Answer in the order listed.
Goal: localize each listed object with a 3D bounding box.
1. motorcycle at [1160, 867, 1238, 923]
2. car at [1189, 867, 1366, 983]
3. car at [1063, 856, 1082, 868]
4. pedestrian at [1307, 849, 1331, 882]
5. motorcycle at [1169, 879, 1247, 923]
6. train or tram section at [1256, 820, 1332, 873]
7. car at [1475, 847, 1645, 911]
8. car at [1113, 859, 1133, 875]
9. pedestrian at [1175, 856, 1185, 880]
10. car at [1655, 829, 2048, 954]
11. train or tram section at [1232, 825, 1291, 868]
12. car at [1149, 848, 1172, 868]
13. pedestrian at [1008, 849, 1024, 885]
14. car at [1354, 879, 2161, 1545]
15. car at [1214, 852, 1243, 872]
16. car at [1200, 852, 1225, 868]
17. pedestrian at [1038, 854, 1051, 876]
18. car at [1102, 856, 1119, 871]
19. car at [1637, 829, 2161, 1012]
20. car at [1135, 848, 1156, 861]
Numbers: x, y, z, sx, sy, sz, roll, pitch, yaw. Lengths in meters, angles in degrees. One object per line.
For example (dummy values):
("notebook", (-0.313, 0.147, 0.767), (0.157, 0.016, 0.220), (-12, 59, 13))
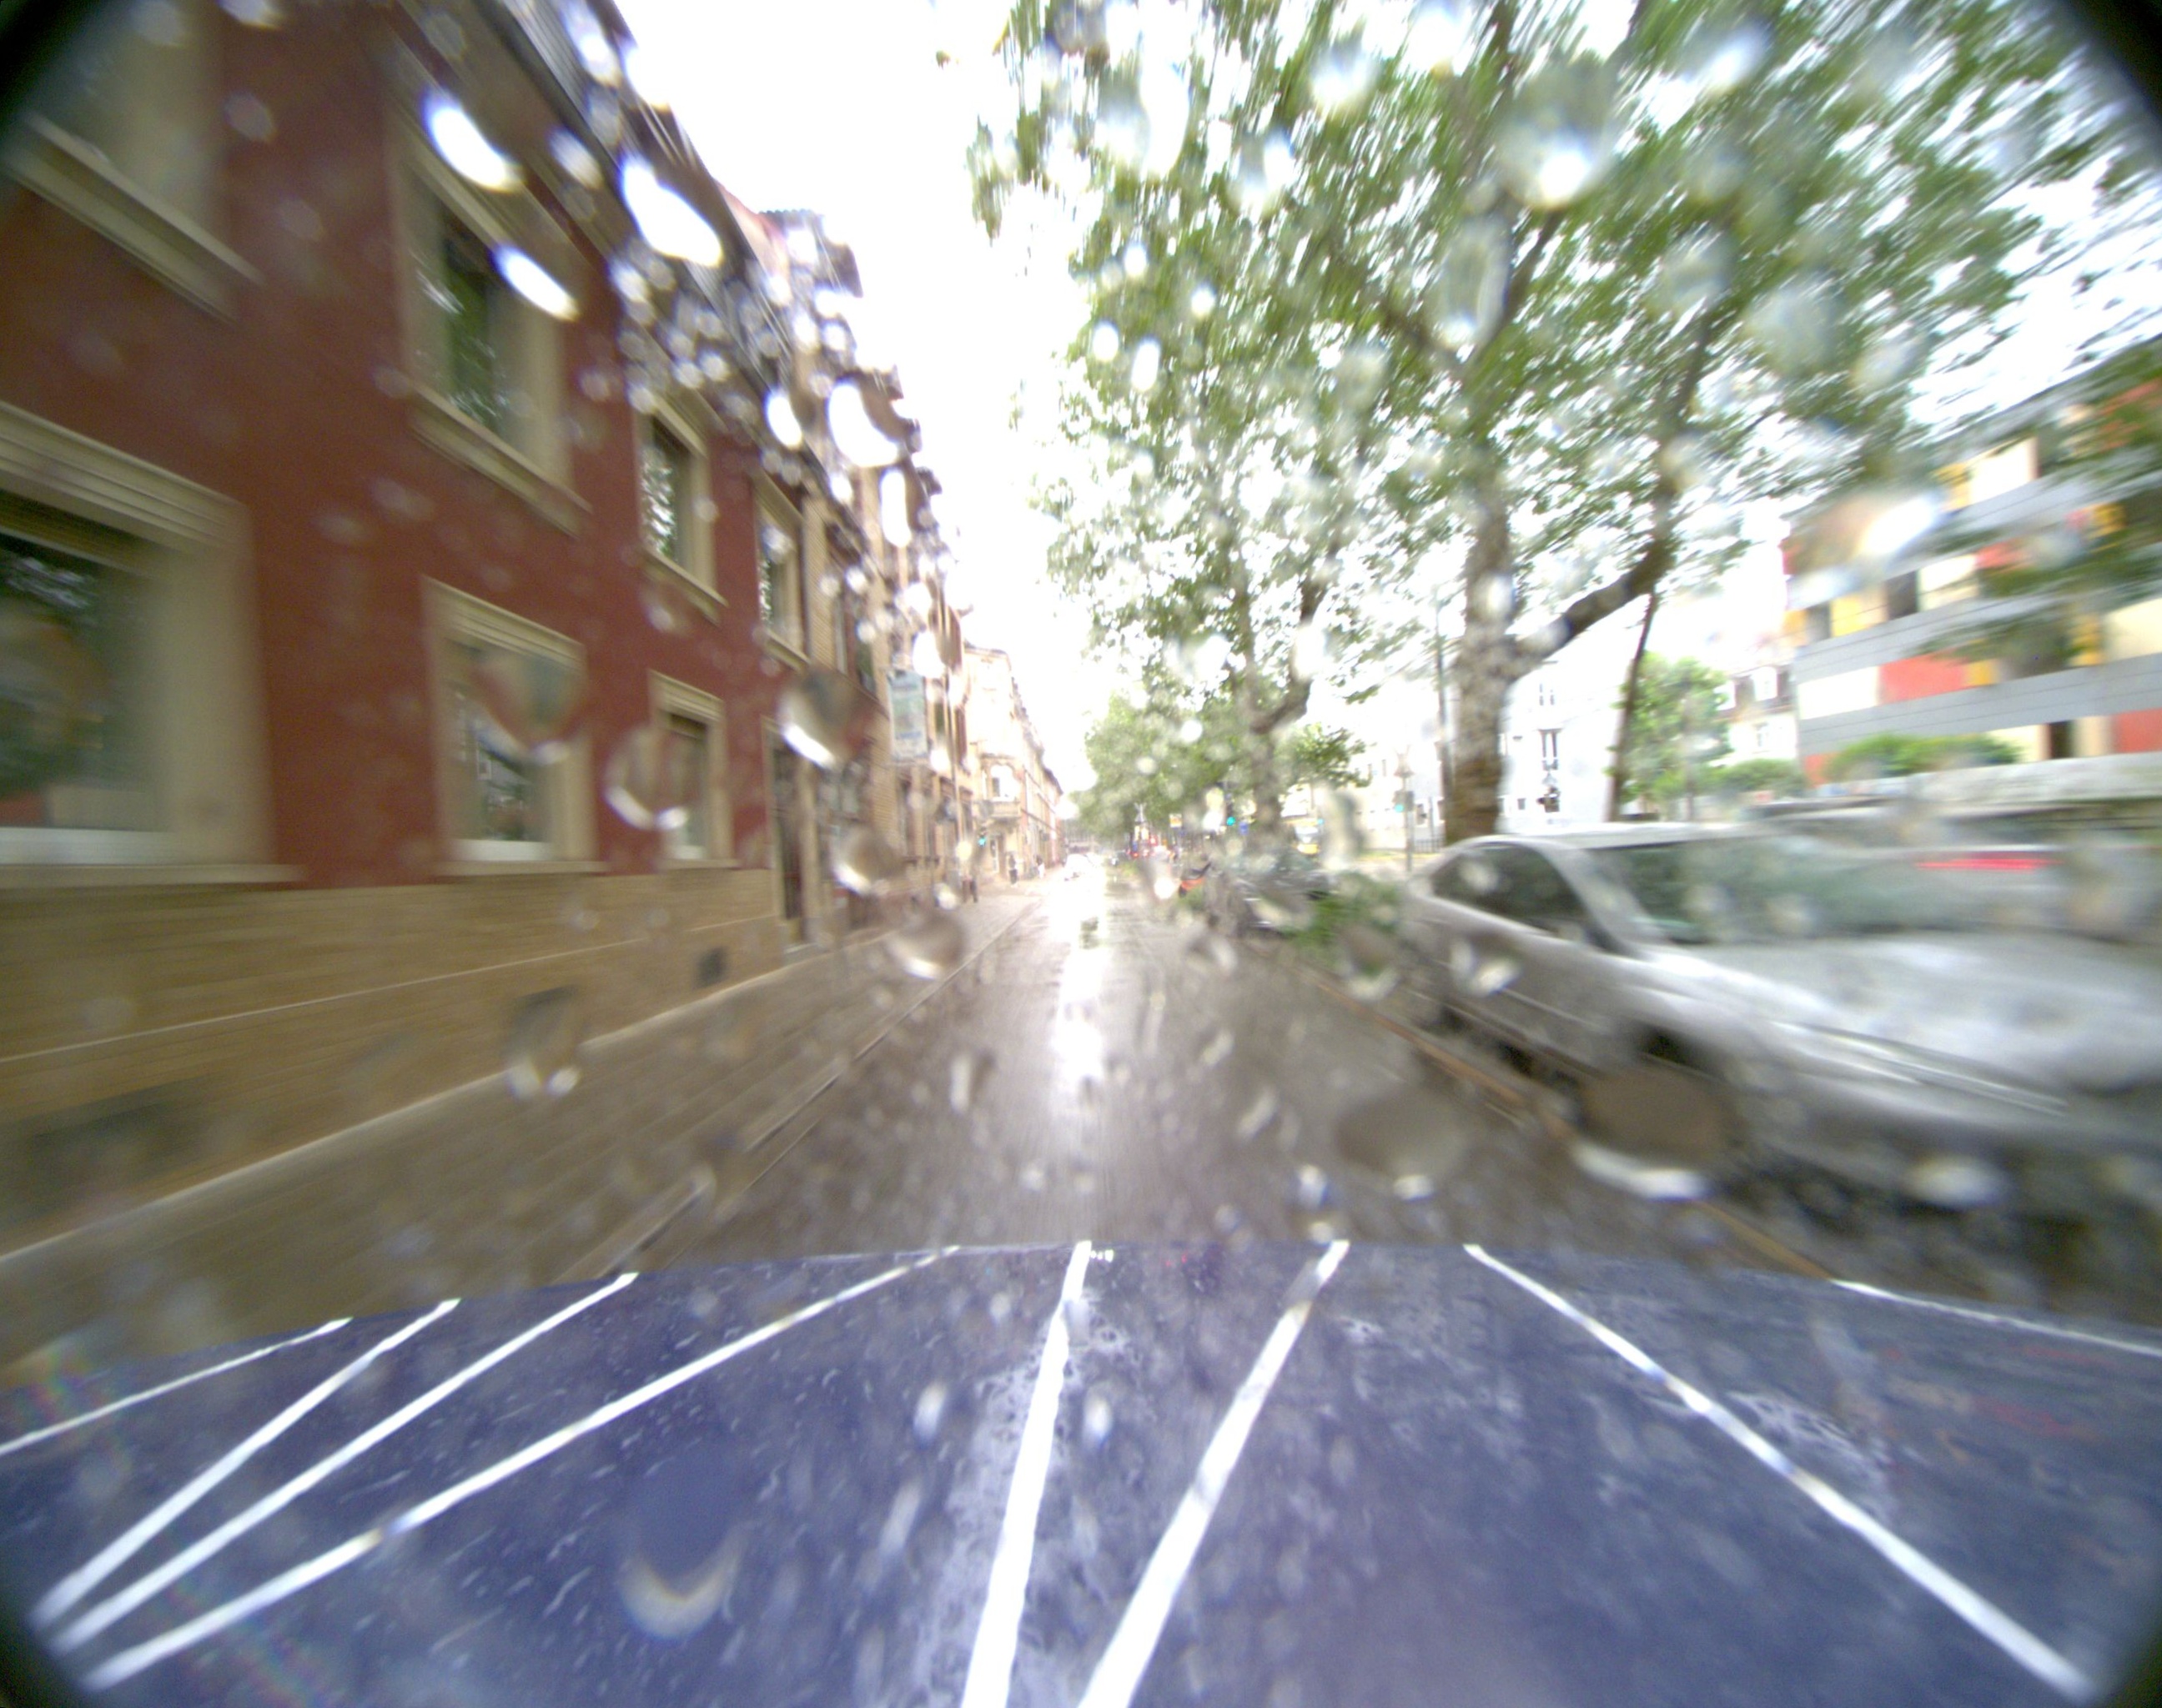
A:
("motorcycle", (3.399, 1.189, 22.052), (2.104, 1.491, 0.773), (-3, 1, 44))
("car", (3.200, 1.081, 13.421), (1.901, 1.476, 4.621), (-4, 0, 1))
("car", (-1.045, 1.030, 95.766), (1.976, 1.359, 4.162), (2, 0, 3))
("pedestrian", (13.529, 0.632, 43.259), (0.938, 1.790, 1.206), (-3, 1, 0))
("motorcycle", (3.823, 1.403, 22.969), (0.870, 1.202, 2.137), (-5, 1, -45))
("train or tram section", (16.864, -0.615, 61.225), (2.907, 3.621, 11.551), (-4, 1, 1))
("car", (12.762, 0.595, 20.642), (1.909, 1.455, 4.388), (-3, 0, 2))
("car", (4.116, 1.253, 74.602), (1.732, 1.473, 4.005), (-3, 0, 1))
("pedestrian", (7.874, 1.085, 60.409), (0.663, 1.845, 0.635), (-3, 1, 1))
("car", (12.076, 0.501, 12.475), (1.909, 1.591, 4.467), (-3, 0, 1))
("train or tram section", (17.087, -0.766, 72.801), (2.907, 3.621, 11.551), (-4, 1, 1))
("car", (8.128, 0.406, 77.773), (1.937, 1.839, 4.066), (-3, 0, 1))
("pedestrian", (-3.479, 0.703, 40.605), (0.787, 1.903, 0.929), (1, 1, 0))
("car", (3.127, 1.022, 4.112), (1.733, 1.506, 4.207), (-4, 0, 1))
("car", (12.680, 0.691, 65.519), (1.676, 1.500, 3.974), (-7, 0, 0))
("car", (12.718, 0.552, 73.802), (1.676, 1.376, 3.705), (-7, 0, 0))
("pedestrian", (-2.678, 0.768, 55.143), (0.849, 1.564, 0.576), (2, 1, 1))
("car", (3.652, 1.142, 92.918), (1.663, 1.567, 3.423), (-3, 0, 7))
("car", (8.500, 0.526, 8.301), (1.838, 1.412, 3.999), (-4, 1, 0))
("car", (8.683, 0.021, 102.288), (2.062, 1.609, 4.672), (-3, 0, -4))
